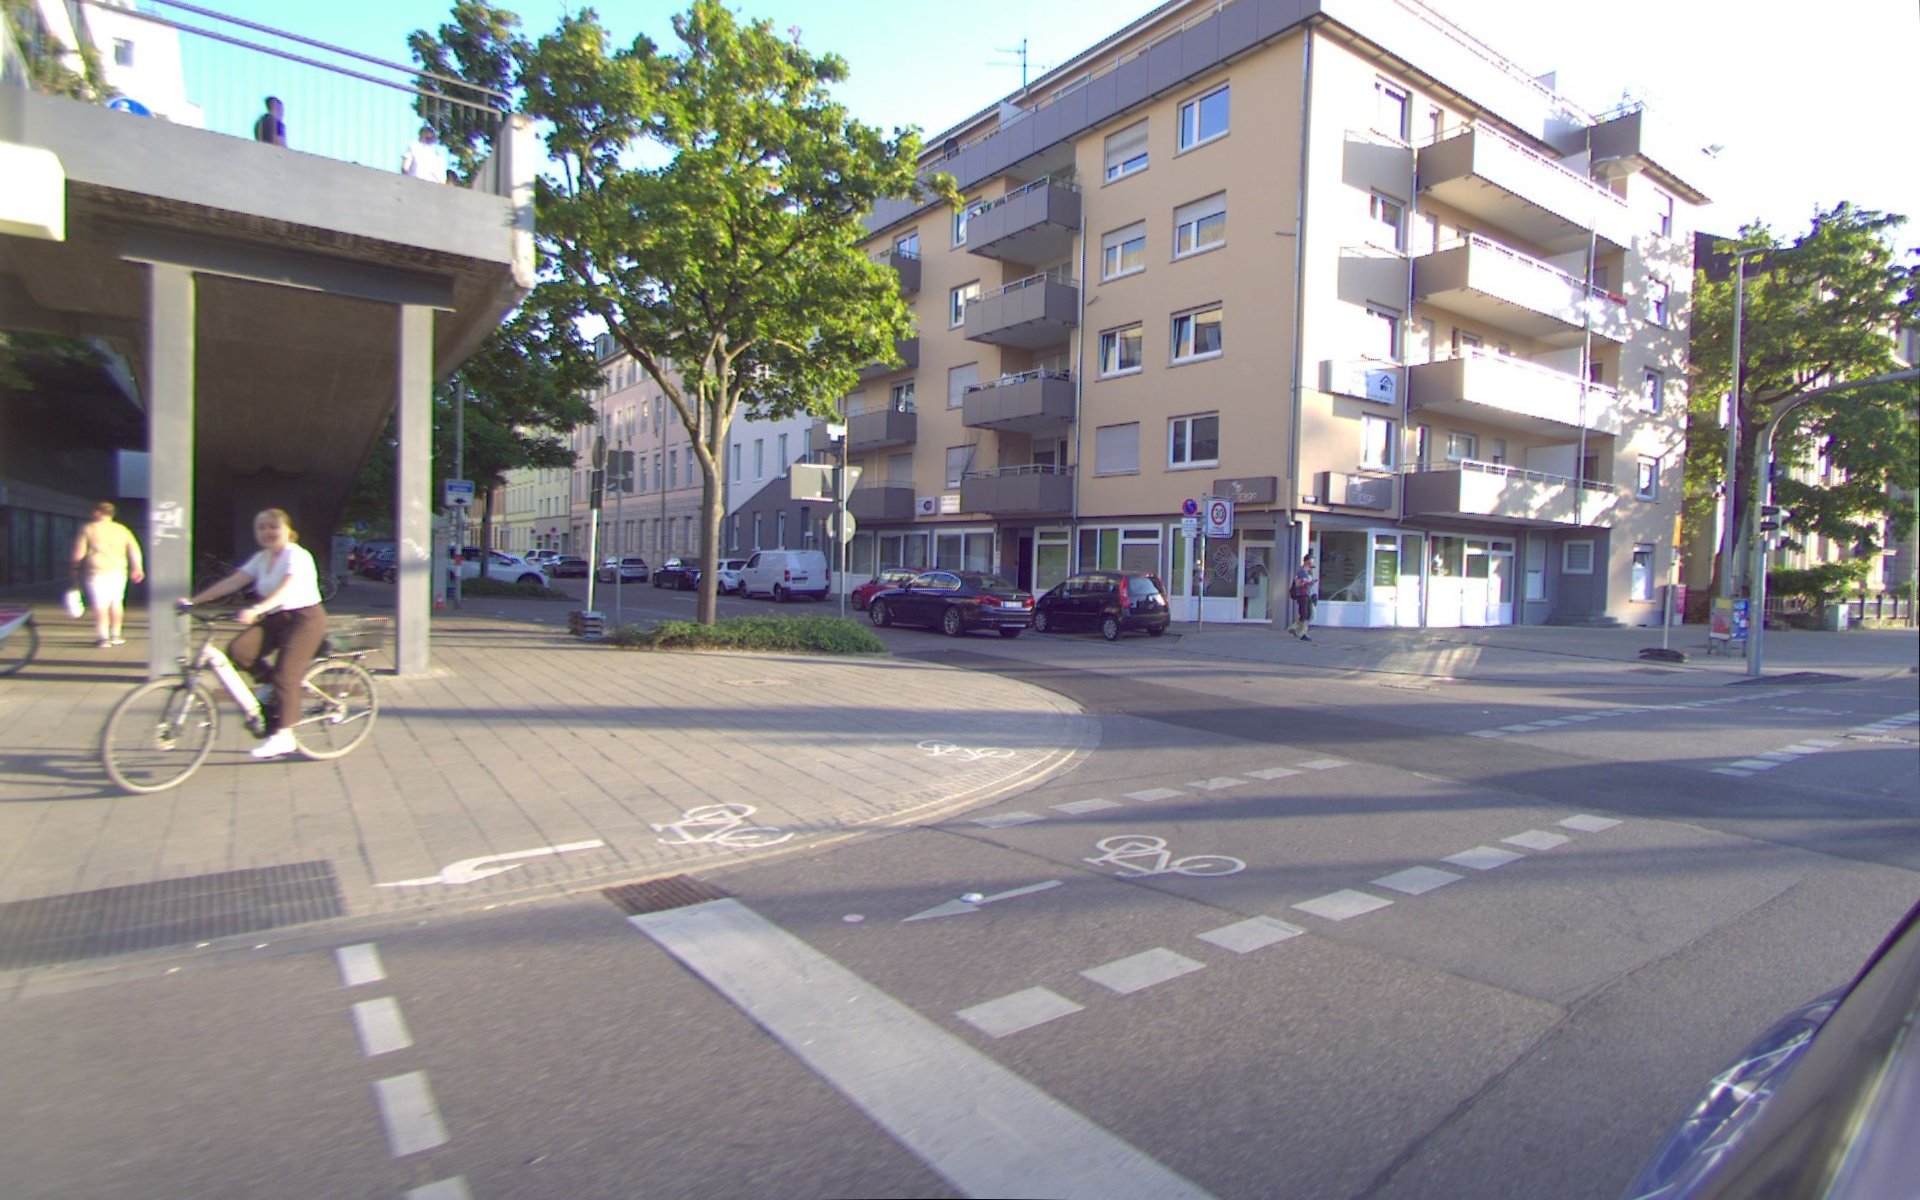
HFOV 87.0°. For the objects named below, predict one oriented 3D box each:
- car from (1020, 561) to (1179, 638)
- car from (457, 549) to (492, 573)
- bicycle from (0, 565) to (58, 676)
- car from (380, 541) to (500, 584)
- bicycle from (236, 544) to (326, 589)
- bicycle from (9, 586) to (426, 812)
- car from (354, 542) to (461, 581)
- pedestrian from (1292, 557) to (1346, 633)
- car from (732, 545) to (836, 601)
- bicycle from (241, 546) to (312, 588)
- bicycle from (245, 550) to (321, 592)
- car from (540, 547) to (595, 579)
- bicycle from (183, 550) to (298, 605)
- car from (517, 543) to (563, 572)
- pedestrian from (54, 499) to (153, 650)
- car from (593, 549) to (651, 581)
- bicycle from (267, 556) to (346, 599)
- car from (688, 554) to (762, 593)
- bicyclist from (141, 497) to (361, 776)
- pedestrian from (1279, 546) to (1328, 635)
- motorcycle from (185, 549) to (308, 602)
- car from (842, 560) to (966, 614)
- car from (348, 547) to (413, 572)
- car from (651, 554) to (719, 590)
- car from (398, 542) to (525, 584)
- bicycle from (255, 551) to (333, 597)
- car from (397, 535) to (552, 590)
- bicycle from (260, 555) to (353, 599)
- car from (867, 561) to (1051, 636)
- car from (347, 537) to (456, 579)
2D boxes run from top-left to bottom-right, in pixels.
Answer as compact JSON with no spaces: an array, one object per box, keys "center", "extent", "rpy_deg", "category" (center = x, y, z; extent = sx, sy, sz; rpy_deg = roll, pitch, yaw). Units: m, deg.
[{"center":[3.240,-0.091,24.116],"extent":[1.585,1.578,3.817],"rpy_deg":[-4,5,-35],"category":"car"},{"center":[-42.052,-3.333,87.539],"extent":[1.995,1.851,4.781],"rpy_deg":[0,0,-35],"category":"car"},{"center":[-9.537,0.190,9.639],"extent":[0.453,1.060,1.325],"rpy_deg":[3,1,24],"category":"bicycle"},{"center":[-20.756,-1.455,40.444],"extent":[4.008,1.555,1.639],"rpy_deg":[0,0,-40],"category":"car"},{"center":[-18.493,-0.905,27.588],"extent":[0.648,1.142,1.920],"rpy_deg":[4,2,41],"category":"bicycle"},{"center":[-4.818,0.538,6.780],"extent":[0.812,1.187,2.129],"rpy_deg":[3,3,26],"category":"bicycle"},{"center":[-24.111,-1.659,44.221],"extent":[3.955,1.555,1.641],"rpy_deg":[0,0,-37],"category":"car"},{"center":[7.946,-0.126,22.407],"extent":[0.752,1.634,0.822],"rpy_deg":[-1,2,-34],"category":"pedestrian"},{"center":[-6.660,-1.069,38.024],"extent":[1.964,1.886,4.540],"rpy_deg":[-5,5,-36],"category":"car"},{"center":[-19.393,-0.929,28.743],"extent":[0.648,1.142,1.544],"rpy_deg":[4,2,42],"category":"bicycle"},{"center":[-17.916,-0.766,26.810],"extent":[0.648,1.050,1.544],"rpy_deg":[4,2,42],"category":"bicycle"},{"center":[-24.602,-2.271,63.325],"extent":[2.118,1.851,4.781],"rpy_deg":[0,0,-35],"category":"car"},{"center":[-15.051,-0.463,21.199],"extent":[1.889,1.071,0.782],"rpy_deg":[1,2,-40],"category":"bicycle"},{"center":[-29.064,-2.886,69.911],"extent":[1.995,1.851,4.781],"rpy_deg":[0,0,-35],"category":"car"},{"center":[-10.560,-0.315,12.480],"extent":[0.719,1.772,0.691],"rpy_deg":[5,2,31],"category":"pedestrian"},{"center":[-18.221,-1.841,54.388],"extent":[1.704,1.575,4.196],"rpy_deg":[0,0,-37],"category":"car"},{"center":[-15.704,-0.533,24.339],"extent":[1.540,0.962,0.485],"rpy_deg":[1,2,-40],"category":"bicycle"},{"center":[-9.941,-1.142,42.556],"extent":[1.576,1.504,4.000],"rpy_deg":[-1,3,-36],"category":"car"},{"center":[-4.771,0.195,6.843],"extent":[0.812,1.713,0.952],"rpy_deg":[3,3,26],"category":"bicyclist"},{"center":[7.432,-0.212,21.914],"extent":[0.534,1.882,0.840],"rpy_deg":[-1,2,-35],"category":"pedestrian"},{"center":[-15.478,-0.513,21.993],"extent":[2.115,1.071,0.786],"rpy_deg":[1,2,-40],"category":"motorcycle"},{"center":[-1.807,-0.474,31.469],"extent":[1.628,1.457,4.224],"rpy_deg":[-4,5,-40],"category":"car"},{"center":[-36.621,-2.546,63.974],"extent":[3.471,1.479,1.443],"rpy_deg":[0,0,-37],"category":"car"},{"center":[-12.630,-1.320,46.266],"extent":[1.576,1.504,4.250],"rpy_deg":[-1,3,-37],"category":"car"},{"center":[-19.117,-1.369,38.883],"extent":[4.105,1.479,1.752],"rpy_deg":[0,0,-40],"category":"car"},{"center":[-16.304,-0.629,24.784],"extent":[1.540,1.050,0.485],"rpy_deg":[1,2,-40],"category":"bicycle"},{"center":[-16.487,-1.226,34.469],"extent":[4.537,1.714,1.754],"rpy_deg":[0,0,-35],"category":"car"},{"center":[-15.348,-0.540,23.788],"extent":[1.735,0.962,0.699],"rpy_deg":[1,2,-40],"category":"bicycle"},{"center":[-0.143,-0.085,23.302],"extent":[1.773,1.488,4.621],"rpy_deg":[2,1,-37],"category":"car"},{"center":[-25.638,-1.873,46.486],"extent":[4.203,1.777,1.641],"rpy_deg":[0,0,-37],"category":"car"}]
